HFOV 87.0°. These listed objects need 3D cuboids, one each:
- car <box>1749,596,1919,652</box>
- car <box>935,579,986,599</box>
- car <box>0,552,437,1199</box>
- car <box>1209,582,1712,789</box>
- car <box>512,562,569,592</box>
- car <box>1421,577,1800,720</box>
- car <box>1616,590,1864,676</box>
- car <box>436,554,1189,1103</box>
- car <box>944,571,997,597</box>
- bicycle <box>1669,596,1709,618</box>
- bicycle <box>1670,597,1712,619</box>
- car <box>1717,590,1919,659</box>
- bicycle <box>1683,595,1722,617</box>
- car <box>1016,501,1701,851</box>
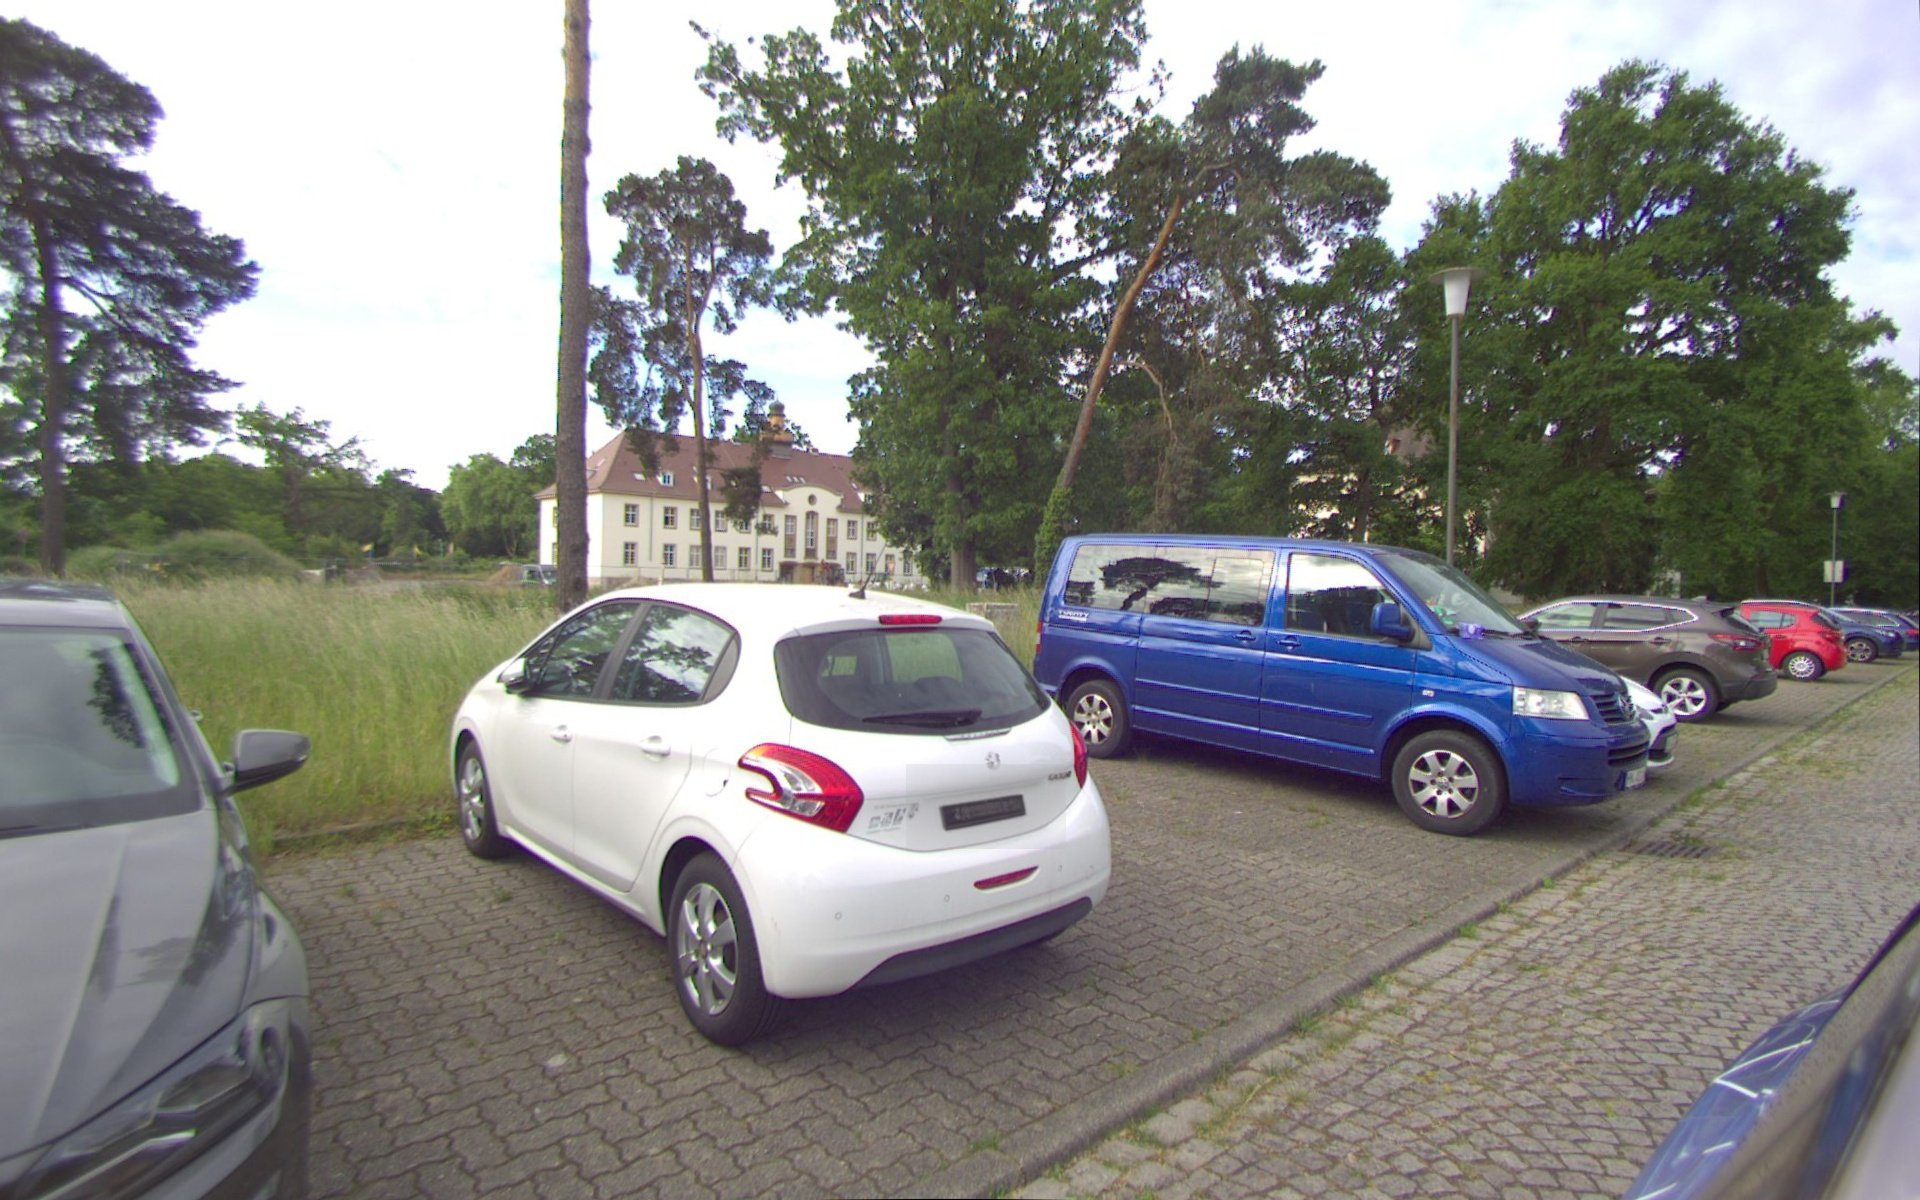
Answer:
[{"bbox_3d":[27.402,0.701,31.358,1.893,1.457,4.366,0,2,-40],"label":"car"},{"bbox_3d":[0.051,-0.856,79.687,4.009,1.572,1.652,0,0,-42],"label":"car"},{"bbox_3d":[-2.893,0.620,2.626,1.735,1.465,4.137,0,2,-42],"label":"car"},{"bbox_3d":[4.722,0.643,9.971,4.100,1.497,1.694,4,2,45],"label":"car"},{"bbox_3d":[-38.633,-2.066,93.075,5.645,2.674,2.249,0,0,36],"label":"car"},{"bbox_3d":[9.119,0.553,14.425,1.921,1.614,4.207,0,2,-45],"label":"car"},{"bbox_3d":[16.427,0.620,21.445,1.755,1.515,3.927,0,2,-44],"label":"car"},{"bbox_3d":[-0.981,0.582,4.769,1.736,1.497,3.659,0,2,-43],"label":"car"},{"bbox_3d":[0.987,-1.469,93.871,4.856,2.333,1.920,0,1,-43],"label":"car"},{"bbox_3d":[42.338,0.401,58.786,1.841,1.185,0.484,1,0,27],"label":"bicycle"},{"bbox_3d":[41.645,0.435,57.678,1.838,1.185,0.484,1,0,22],"label":"bicycle"},{"bbox_3d":[23.946,0.614,28.231,1.855,1.643,4.249,0,2,-44],"label":"car"},{"bbox_3d":[44.716,0.343,60.976,1.850,1.184,0.481,4,2,38],"label":"bicycle"},{"bbox_3d":[2.899,0.335,8.262,1.934,2.028,4.800,0,2,-44],"label":"car"}]
